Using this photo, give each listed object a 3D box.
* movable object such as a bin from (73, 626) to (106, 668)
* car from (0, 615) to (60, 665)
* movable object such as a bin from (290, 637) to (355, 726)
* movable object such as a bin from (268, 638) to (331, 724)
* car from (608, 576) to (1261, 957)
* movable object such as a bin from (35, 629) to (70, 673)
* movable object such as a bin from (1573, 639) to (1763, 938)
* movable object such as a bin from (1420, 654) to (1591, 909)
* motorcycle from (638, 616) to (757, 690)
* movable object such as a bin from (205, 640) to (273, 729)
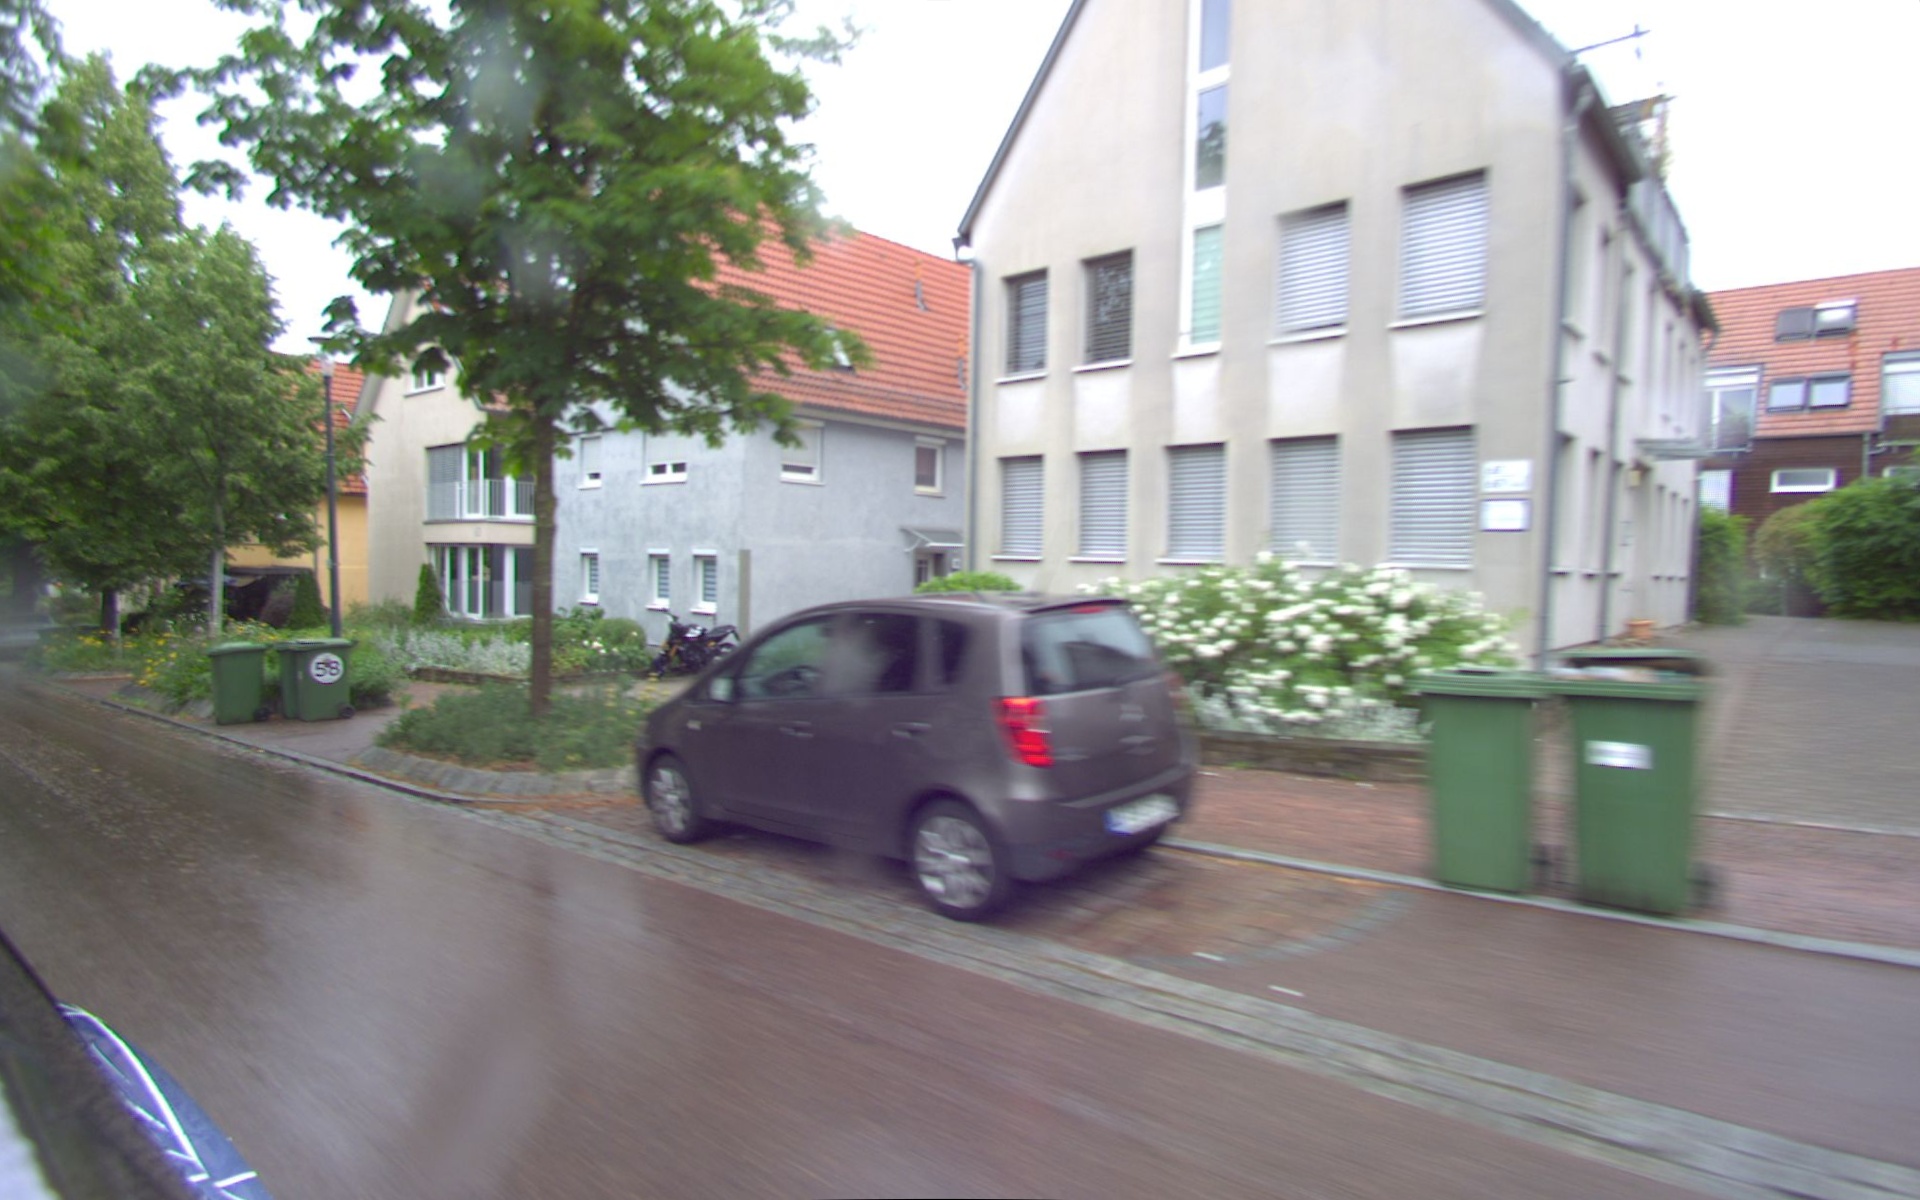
[{"bbox_3d":[-22.987,1.238,26.711,0.545,1.070,0.588,-1,1,44],"label":"movable object such as a bin"},{"bbox_3d":[-29.085,1.201,31.021,4.545,1.399,1.753,-1,2,42],"label":"car"},{"bbox_3d":[-8.450,1.061,13.418,0.564,1.119,0.604,-2,-1,43],"label":"movable object such as a bin"},{"bbox_3d":[-8.976,1.082,13.757,0.564,1.119,0.604,-2,-1,43],"label":"movable object such as a bin"},{"bbox_3d":[-0.384,0.707,6.079,3.865,1.544,1.629,-1,1,43],"label":"car"},{"bbox_3d":[-23.401,1.308,26.092,0.545,1.070,0.588,-2,2,44],"label":"movable object such as a bin"},{"bbox_3d":[3.173,0.781,4.530,0.618,1.186,0.576,-2,-1,40],"label":"movable object such as a bin"},{"bbox_3d":[2.656,0.832,4.926,0.595,1.107,0.547,-3,-1,40],"label":"movable object such as a bin"},{"bbox_3d":[-4.756,0.929,18.427,0.817,1.170,1.962,-1,1,41],"label":"motorcycle"},{"bbox_3d":[-9.553,1.095,13.412,0.536,1.119,0.636,-2,-1,43],"label":"movable object such as a bin"}]
